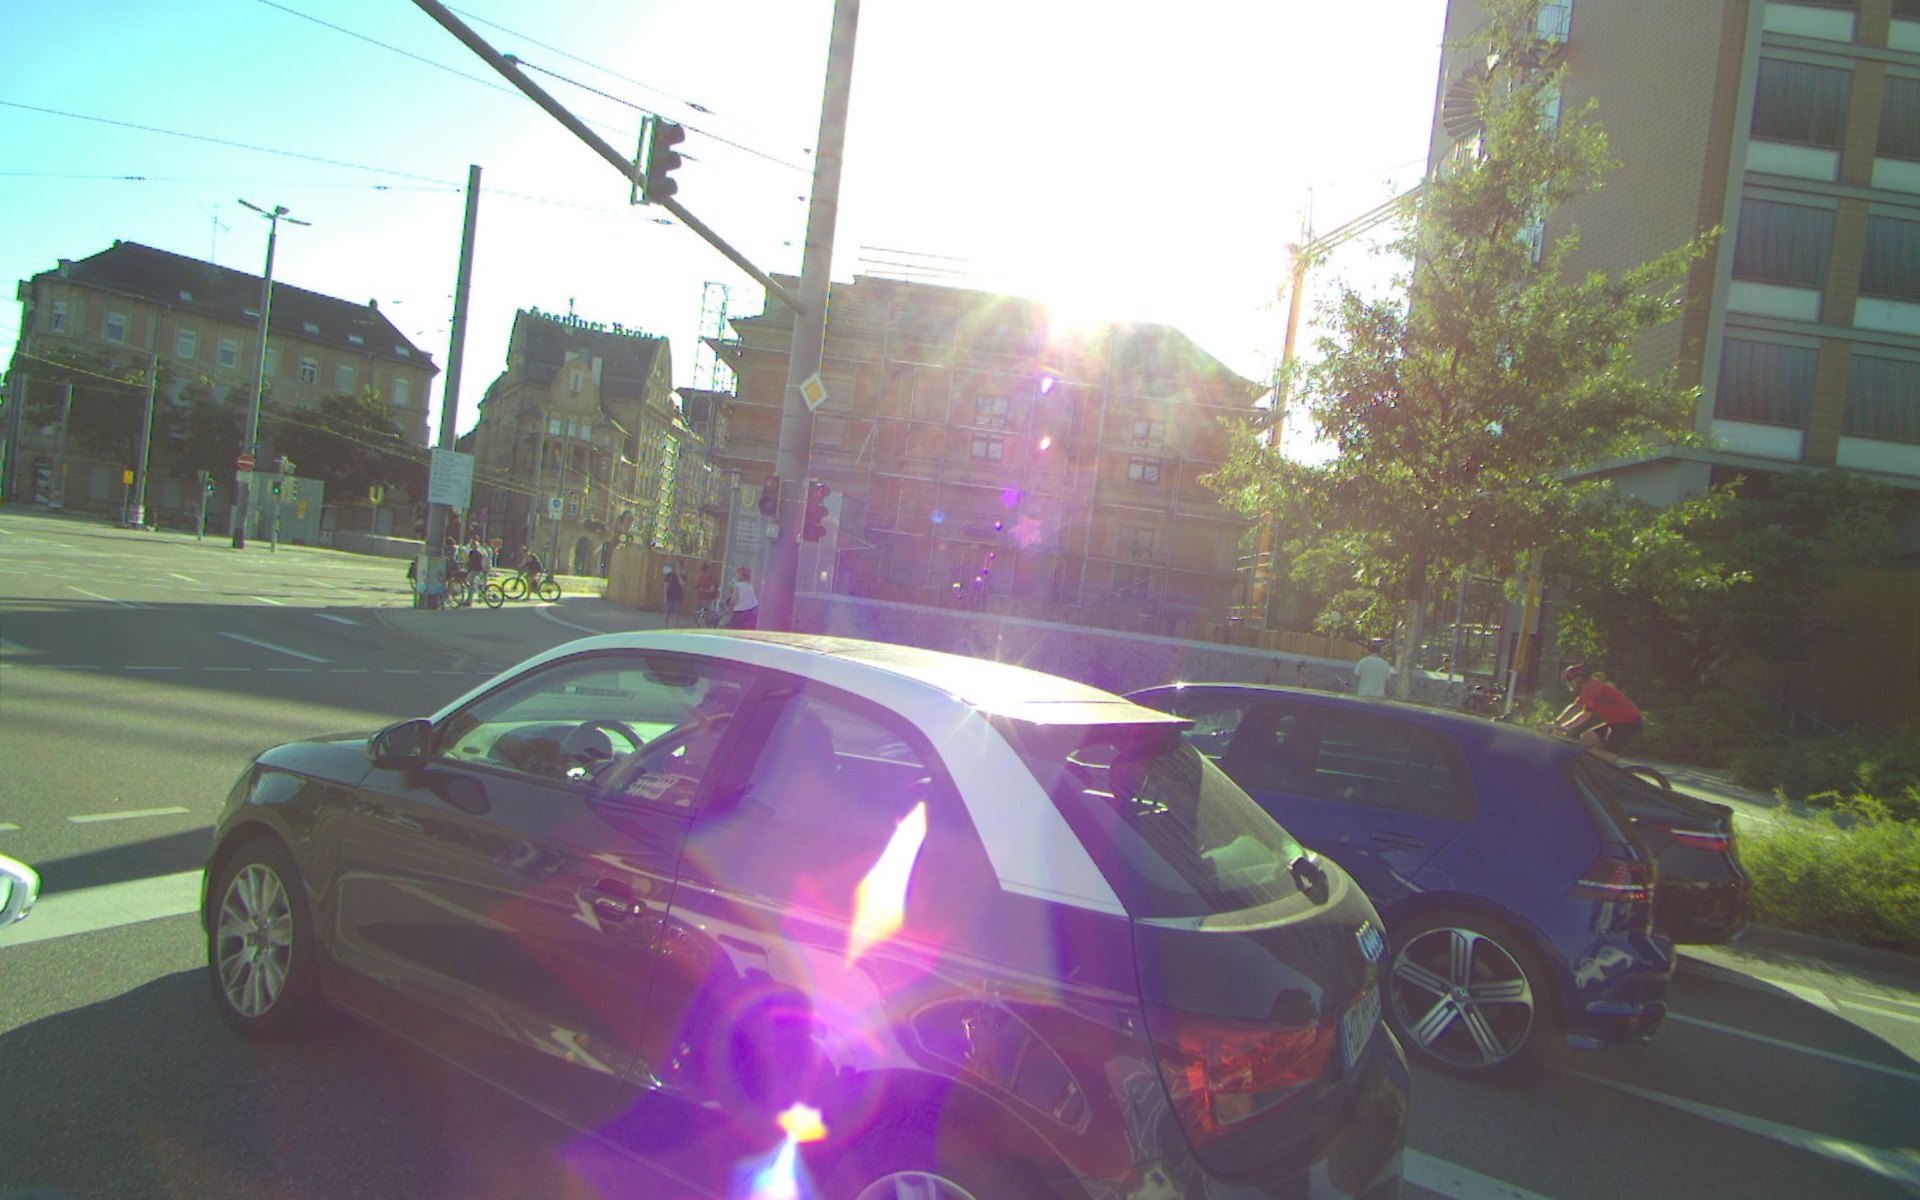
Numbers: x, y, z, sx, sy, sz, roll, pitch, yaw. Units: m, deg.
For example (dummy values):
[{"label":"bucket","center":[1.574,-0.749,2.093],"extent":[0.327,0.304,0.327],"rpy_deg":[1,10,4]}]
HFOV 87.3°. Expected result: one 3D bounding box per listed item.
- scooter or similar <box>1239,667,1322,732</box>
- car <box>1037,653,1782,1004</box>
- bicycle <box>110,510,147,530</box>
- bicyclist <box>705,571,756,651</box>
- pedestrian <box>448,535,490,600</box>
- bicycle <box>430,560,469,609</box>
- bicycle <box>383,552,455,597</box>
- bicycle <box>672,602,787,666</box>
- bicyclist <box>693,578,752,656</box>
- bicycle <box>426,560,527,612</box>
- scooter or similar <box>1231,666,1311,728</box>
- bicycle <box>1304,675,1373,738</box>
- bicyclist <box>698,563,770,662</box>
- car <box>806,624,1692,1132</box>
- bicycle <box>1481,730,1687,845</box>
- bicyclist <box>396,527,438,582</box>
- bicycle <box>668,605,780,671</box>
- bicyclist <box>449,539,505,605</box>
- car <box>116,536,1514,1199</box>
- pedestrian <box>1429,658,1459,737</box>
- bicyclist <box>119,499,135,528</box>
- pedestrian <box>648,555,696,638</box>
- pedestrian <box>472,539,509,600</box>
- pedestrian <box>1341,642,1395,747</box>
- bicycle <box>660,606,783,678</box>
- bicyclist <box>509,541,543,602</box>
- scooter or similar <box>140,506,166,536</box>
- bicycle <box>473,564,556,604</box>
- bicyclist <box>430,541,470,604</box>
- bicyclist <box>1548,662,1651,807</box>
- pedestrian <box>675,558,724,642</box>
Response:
[{"label":"scooter or similar","center":[5.960,1.839,18.714],"extent":[1.348,1.007,0.342],"rpy_deg":[7,-1,25]},{"label":"car","center":[3.003,1.405,7.444],"extent":[4.436,1.420,1.727],"rpy_deg":[6,-2,31]},{"label":"bicycle","center":[-52.125,-4.987,63.081],"extent":[1.580,0.963,0.655],"rpy_deg":[8,-2,-25]},{"label":"bicyclist","center":[-4.513,0.232,19.789],"extent":[0.661,1.471,0.618],"rpy_deg":[7,-1,3]},{"label":"pedestrian","center":[-16.391,-1.091,33.581],"extent":[0.748,2.037,0.733],"rpy_deg":[7,-1,25]},{"label":"bicycle","center":[-12.765,-0.407,25.123],"extent":[0.693,1.061,2.303],"rpy_deg":[9,-1,-29]},{"label":"bicycle","center":[-16.725,-0.783,31.087],"extent":[2.278,1.061,0.536],"rpy_deg":[8,-1,24]},{"label":"bicycle","center":[-4.523,0.658,19.791],"extent":[1.997,0.976,0.660],"rpy_deg":[7,2,5]},{"label":"bicyclist","center":[-4.386,0.315,18.597],"extent":[0.662,1.330,0.617],"rpy_deg":[6,-1,27]},{"label":"bicycle","center":[-12.700,-0.369,26.434],"extent":[2.276,1.061,0.702],"rpy_deg":[7,-1,8]},{"label":"scooter or similar","center":[6.014,1.876,19.490],"extent":[1.346,1.007,0.343],"rpy_deg":[7,-1,13]},{"label":"bicycle","center":[7.067,1.977,18.833],"extent":[0.352,1.015,1.149],"rpy_deg":[8,-2,-29]},{"label":"bicyclist","center":[-3.860,0.222,17.197],"extent":[0.781,1.571,0.668],"rpy_deg":[6,-1,27]},{"label":"car","center":[1.290,1.097,5.332],"extent":[3.934,1.420,1.627],"rpy_deg":[6,-2,32]},{"label":"bicycle","center":[7.559,2.236,12.245],"extent":[2.005,0.975,0.658],"rpy_deg":[6,0,38]},{"label":"bicyclist","center":[-16.823,-1.419,31.169],"extent":[0.930,1.575,0.516],"rpy_deg":[7,-1,23]},{"label":"bicycle","center":[-4.370,0.694,18.573],"extent":[1.999,0.976,0.659],"rpy_deg":[6,2,27]},{"label":"bicyclist","center":[-12.689,-0.723,26.444],"extent":[0.929,1.575,0.711],"rpy_deg":[7,-1,8]},{"label":"car","center":[-0.670,0.747,3.040],"extent":[3.934,1.420,1.627],"rpy_deg":[6,-2,32]},{"label":"pedestrian","center":[10.999,2.209,22.885],"extent":[0.369,1.752,0.444],"rpy_deg":[7,-1,17]},{"label":"bicyclist","center":[-52.179,-5.391,63.023],"extent":[0.509,1.720,0.517],"rpy_deg":[7,-1,-25]},{"label":"pedestrian","center":[-6.666,-0.077,23.307],"extent":[0.672,1.830,0.672],"rpy_deg":[7,2,11]},{"label":"pedestrian","center":[-15.949,-1.021,34.190],"extent":[0.678,1.945,0.649],"rpy_deg":[7,-1,25]},{"label":"pedestrian","center":[6.867,1.570,16.923],"extent":[0.592,1.662,0.677],"rpy_deg":[6,3,29]},{"label":"bicycle","center":[-4.104,0.715,17.269],"extent":[1.999,0.974,0.660],"rpy_deg":[6,-1,27]},{"label":"bicyclist","center":[-13.584,-0.886,31.498],"extent":[0.785,1.800,0.520],"rpy_deg":[7,-1,-23]},{"label":"scooter or similar","center":[-42.029,-4.103,52.386],"extent":[0.784,1.392,1.885],"rpy_deg":[8,-2,-44]},{"label":"bicycle","center":[-13.871,-0.493,31.399],"extent":[2.289,1.063,0.532],"rpy_deg":[5,2,-25]},{"label":"bicyclist","center":[-12.732,-0.686,25.086],"extent":[0.702,1.456,0.940],"rpy_deg":[8,-1,-29]},{"label":"bicyclist","center":[7.712,1.602,12.132],"extent":[0.858,1.578,0.616],"rpy_deg":[6,-1,37]},{"label":"pedestrian","center":[-5.991,0.005,23.150],"extent":[0.672,1.828,0.673],"rpy_deg":[7,-1,11]}]
